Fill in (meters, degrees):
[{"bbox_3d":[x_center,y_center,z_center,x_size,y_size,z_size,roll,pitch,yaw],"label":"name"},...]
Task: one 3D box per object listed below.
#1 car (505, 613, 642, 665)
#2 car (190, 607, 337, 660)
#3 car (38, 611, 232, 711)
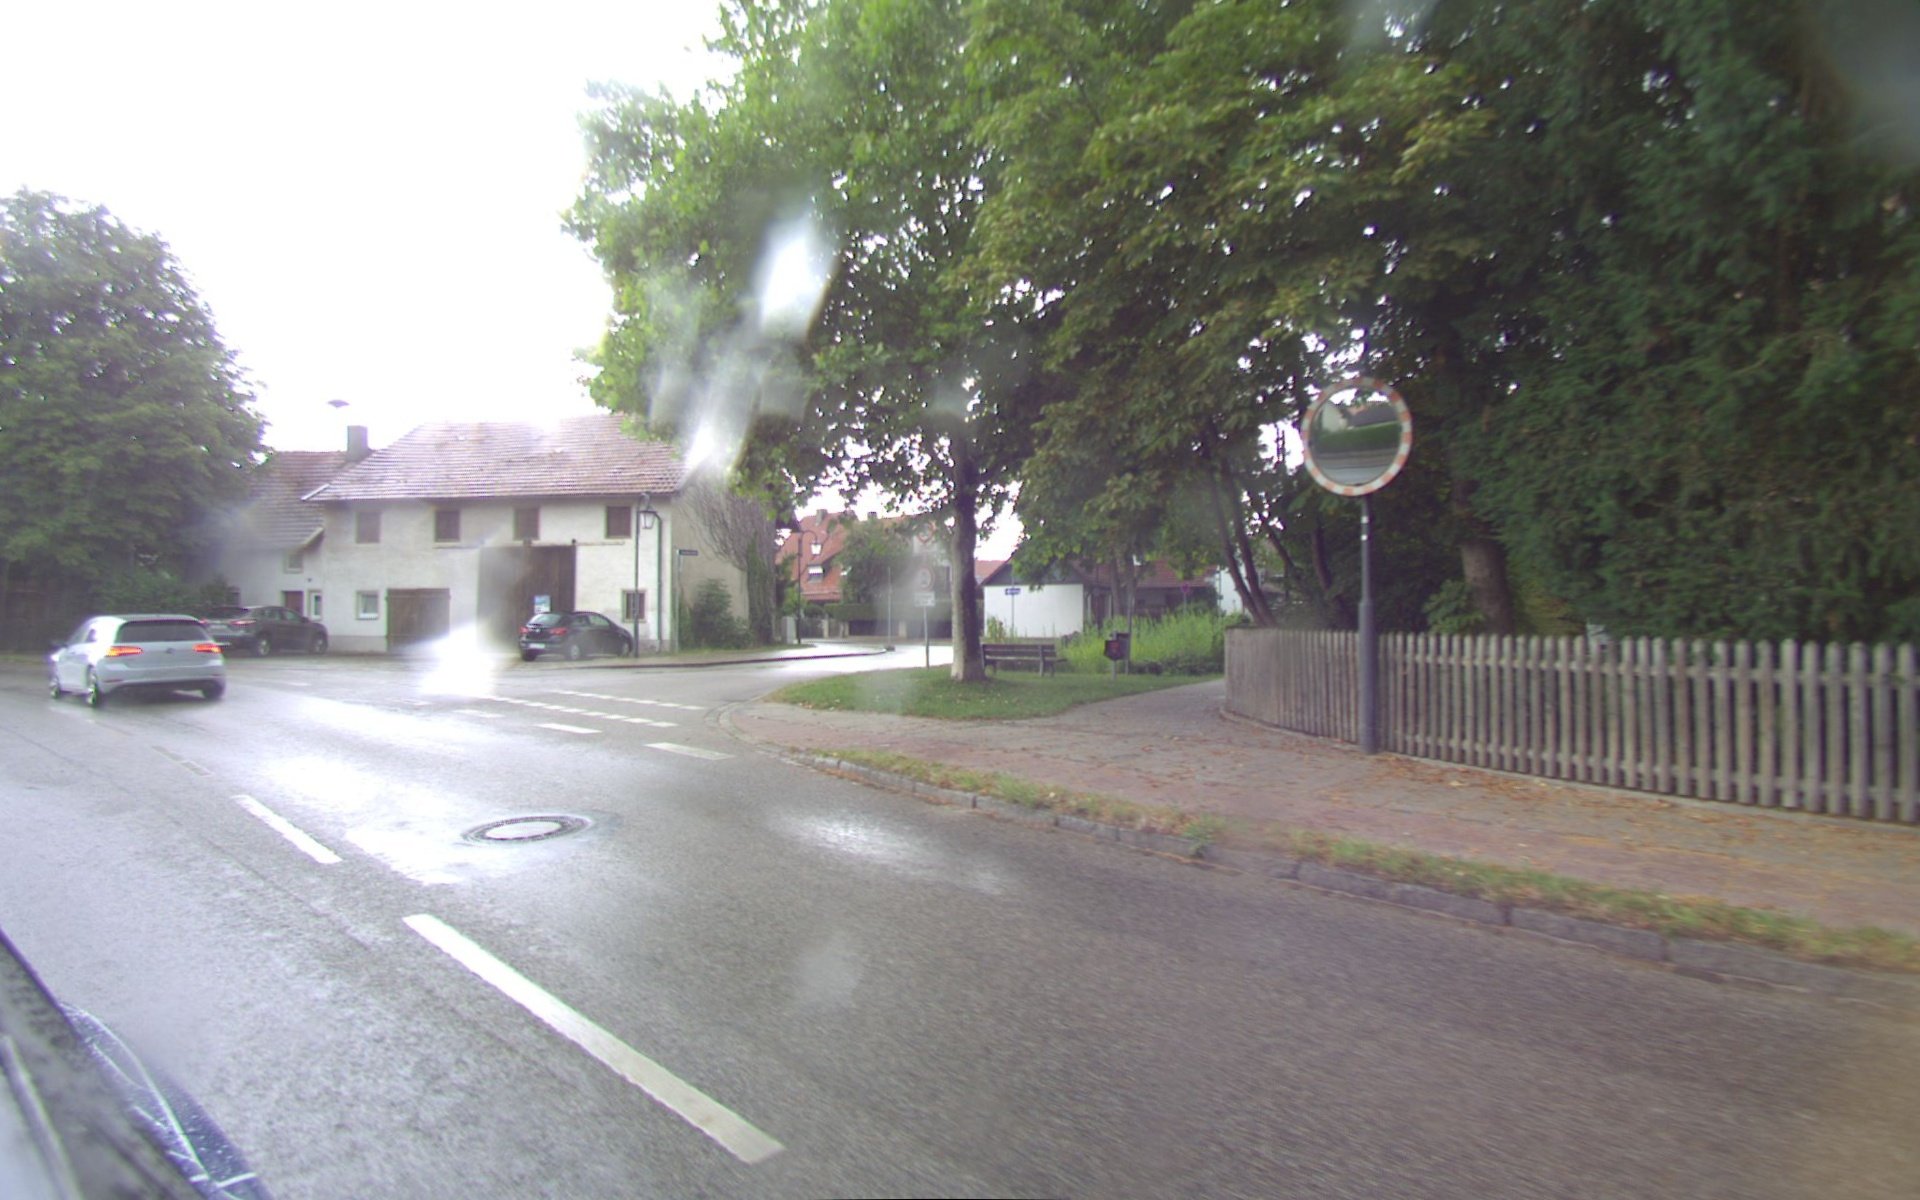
[{"bbox_3d":[-11.470,1.103,30.365,1.803,1.447,4.263,0,-1,13],"label":"car"},{"bbox_3d":[-21.929,1.073,32.097,1.791,1.560,4.282,0,-3,-2],"label":"car"},{"bbox_3d":[-14.025,0.934,17.140,3.995,1.453,1.700,0,1,38],"label":"car"}]
